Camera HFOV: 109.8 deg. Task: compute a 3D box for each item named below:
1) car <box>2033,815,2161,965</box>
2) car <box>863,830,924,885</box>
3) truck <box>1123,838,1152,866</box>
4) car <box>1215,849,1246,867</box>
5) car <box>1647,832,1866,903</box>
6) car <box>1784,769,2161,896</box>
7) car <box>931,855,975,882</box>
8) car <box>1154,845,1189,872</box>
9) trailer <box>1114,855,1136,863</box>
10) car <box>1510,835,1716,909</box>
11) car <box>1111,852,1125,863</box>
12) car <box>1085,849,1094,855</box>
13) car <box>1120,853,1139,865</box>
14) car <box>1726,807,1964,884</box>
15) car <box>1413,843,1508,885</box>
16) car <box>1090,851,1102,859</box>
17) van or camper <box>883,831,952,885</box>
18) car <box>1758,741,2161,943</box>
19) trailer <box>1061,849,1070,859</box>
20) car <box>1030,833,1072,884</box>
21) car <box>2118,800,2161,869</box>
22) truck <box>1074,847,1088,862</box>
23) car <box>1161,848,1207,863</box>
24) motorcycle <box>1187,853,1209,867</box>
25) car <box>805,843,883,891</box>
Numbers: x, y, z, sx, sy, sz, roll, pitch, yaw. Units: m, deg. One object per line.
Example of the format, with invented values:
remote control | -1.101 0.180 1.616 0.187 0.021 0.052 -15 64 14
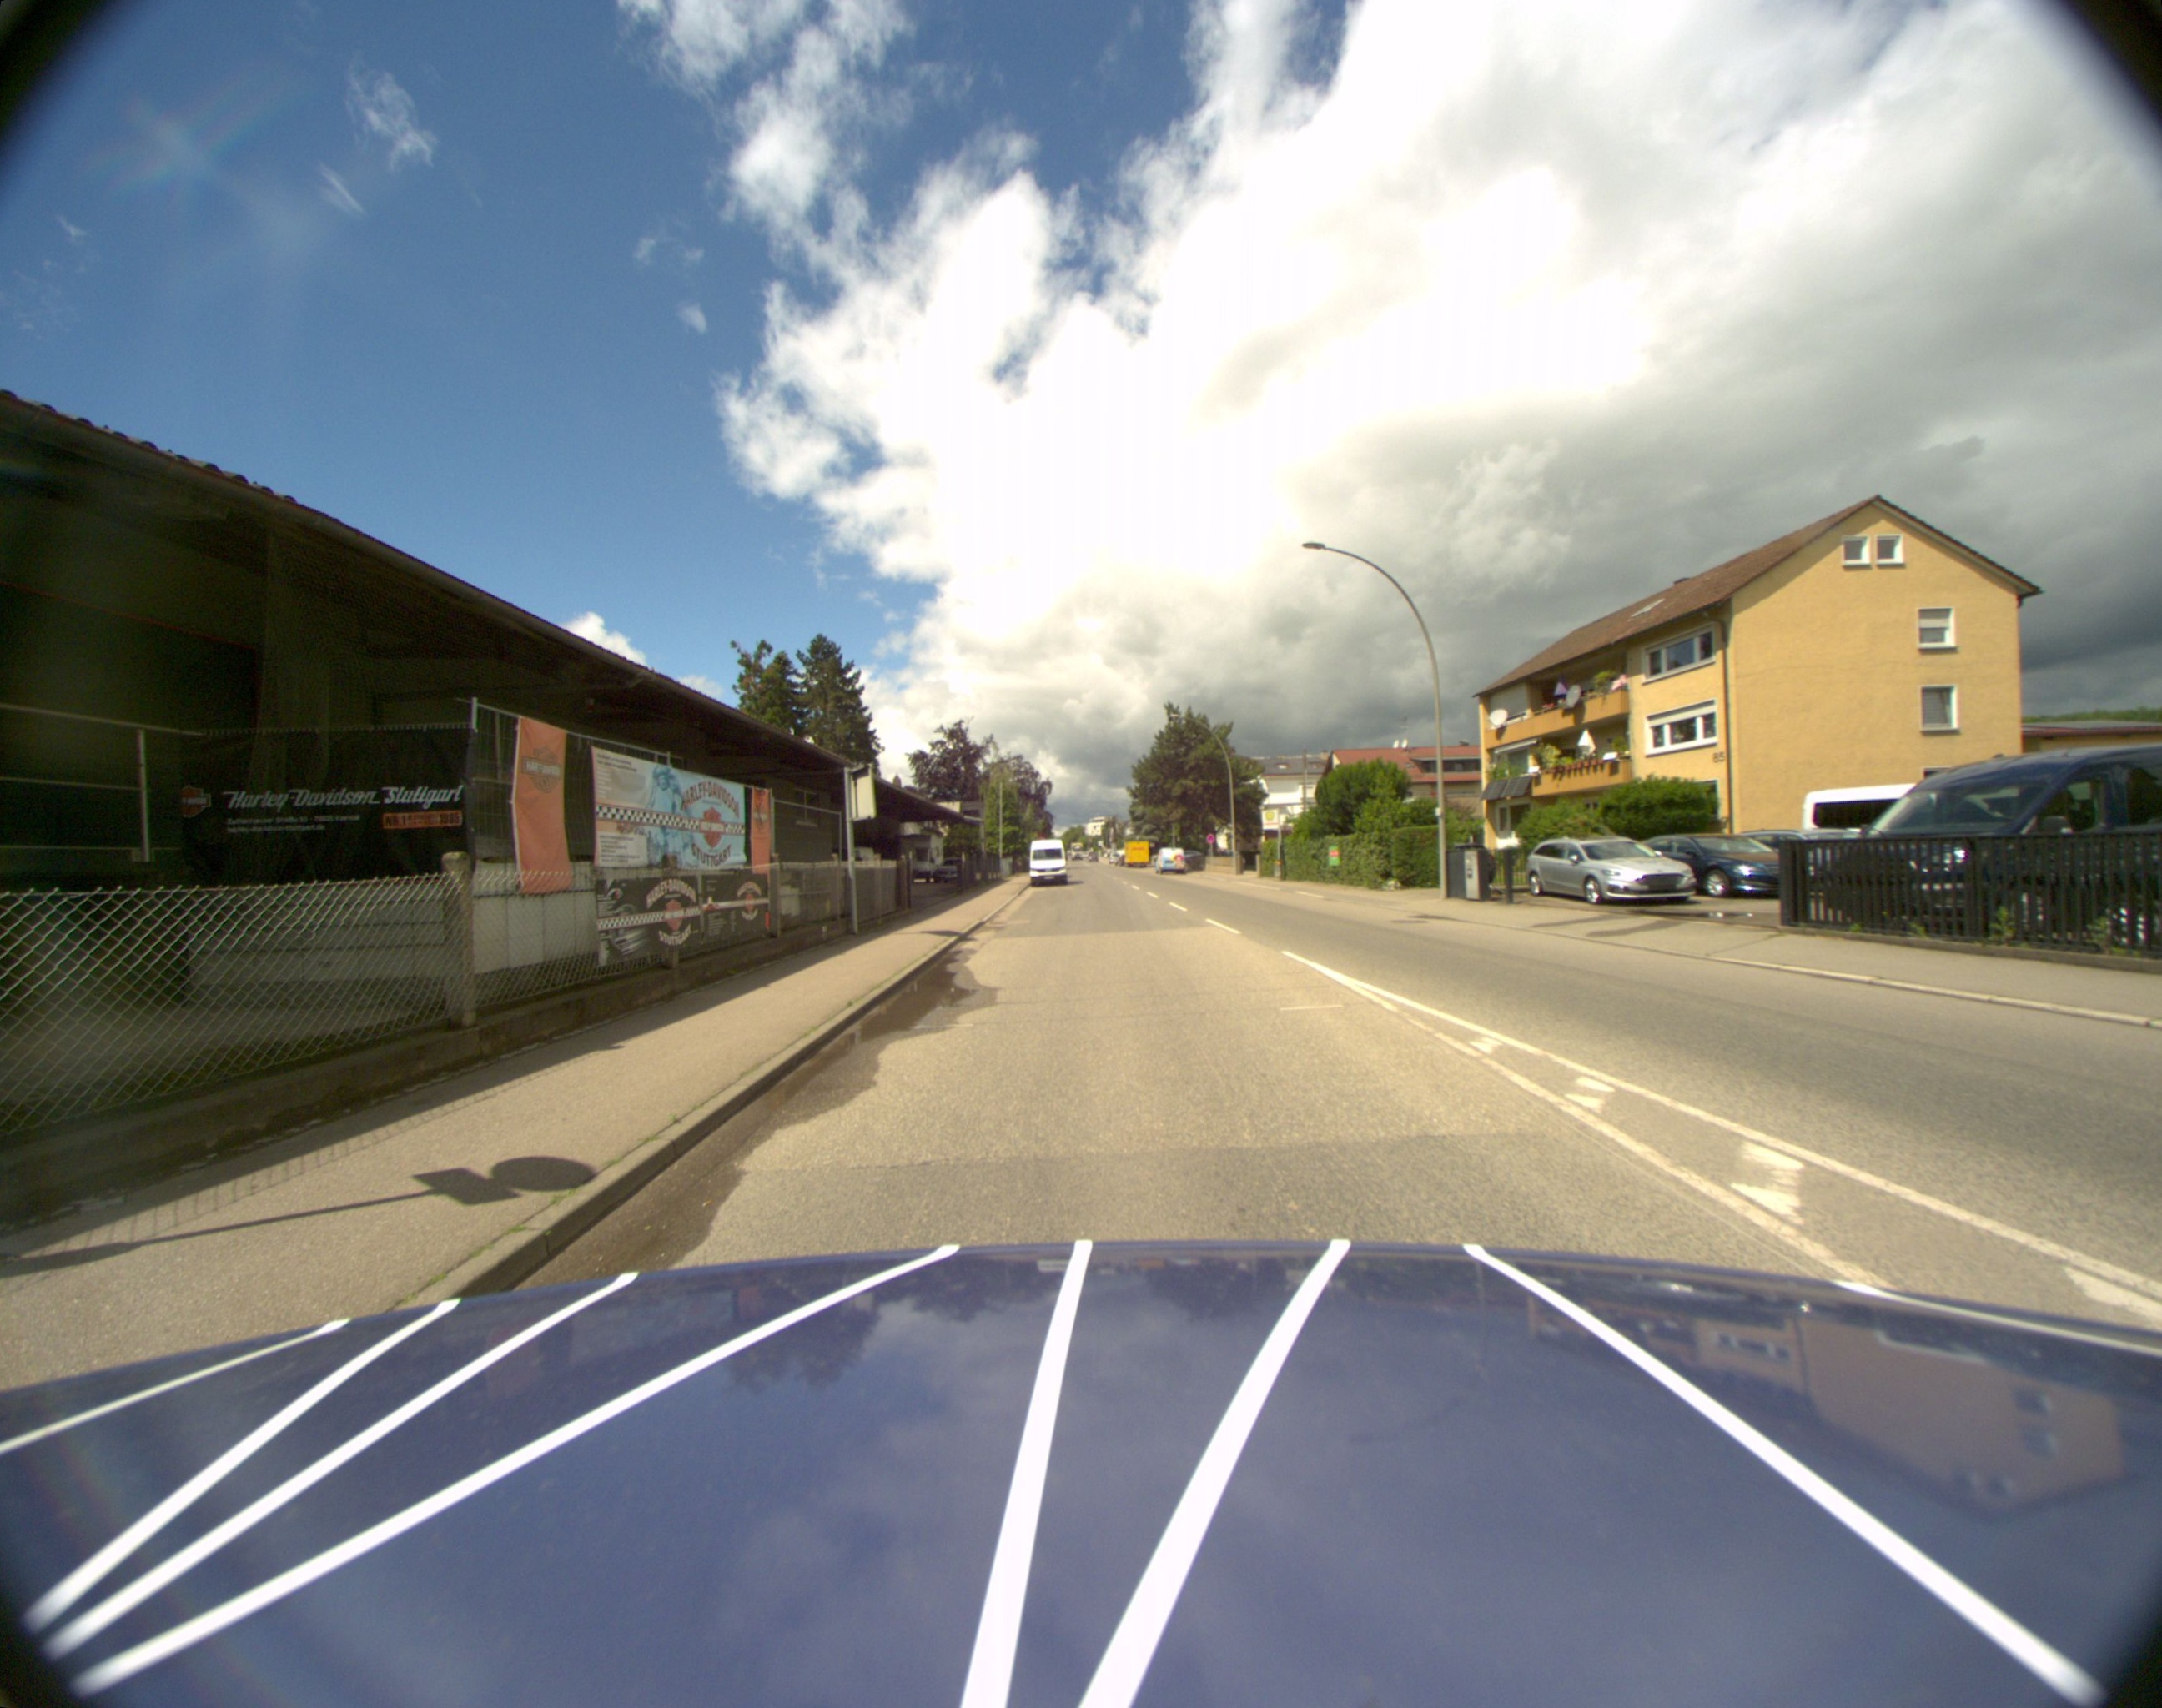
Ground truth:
car | 12.455 0.354 6.946 2.037 1.585 4.283 -2 0 -4
car | -9.973 0.233 40.893 2.023 2.665 5.497 -2 -1 -2
truck | 6.302 -0.179 85.552 2.330 2.986 7.816 0 0 -2
car | 13.676 0.375 69.650 1.772 1.534 4.086 -2 0 -5
car | 15.418 0.264 17.710 1.848 1.418 4.334 -1 0 11
car | 20.571 -0.441 17.920 2.418 2.481 6.135 0 0 2
car | -7.475 0.828 44.745 1.769 1.480 4.926 -2 0 -1
car | 6.568 0.330 55.659 1.838 1.842 4.895 1 -1 -1
trailer | 5.727 0.648 99.570 2.324 0.985 7.458 0 0 -1
car | 12.454 0.349 18.332 1.997 1.477 5.344 -2 0 10
car | 5.709 0.487 117.238 1.809 1.666 4.127 0 0 -1
car | 2.315 -0.524 210.378 1.987 1.412 3.999 -1 0 -3
car | 5.946 0.593 93.258 1.999 1.445 4.811 2 0 -1
car | 17.811 -0.185 18.069 1.848 1.568 4.334 -1 0 11
car | 14.265 0.330 28.827 1.848 1.418 4.332 -2 0 7
car | 2.832 0.176 142.814 1.906 1.509 4.317 -1 0 -2
van or camper | -9.924 0.216 46.917 2.889 3.043 6.911 -2 0 -2
car | 13.844 -0.199 10.911 6.053 2.482 2.477 -2 0 -1
trailer | -3.599 -0.017 177.273 2.045 2.214 5.078 -1 0 0
car | -1.712 0.239 43.756 2.221 2.673 6.656 -1 0 -2
car | 28.640 -0.525 18.146 1.849 1.781 4.330 -2 0 0
truck | 0.010 0.091 176.771 2.880 3.290 8.605 -4 1 -1
car | 11.919 0.128 87.980 5.021 1.543 1.972 -2 1 -2
motorcycle | 10.563 0.536 68.460 1.872 1.159 0.825 -2 0 16
car | -10.482 0.564 34.031 1.999 1.898 4.853 -2 0 -1
